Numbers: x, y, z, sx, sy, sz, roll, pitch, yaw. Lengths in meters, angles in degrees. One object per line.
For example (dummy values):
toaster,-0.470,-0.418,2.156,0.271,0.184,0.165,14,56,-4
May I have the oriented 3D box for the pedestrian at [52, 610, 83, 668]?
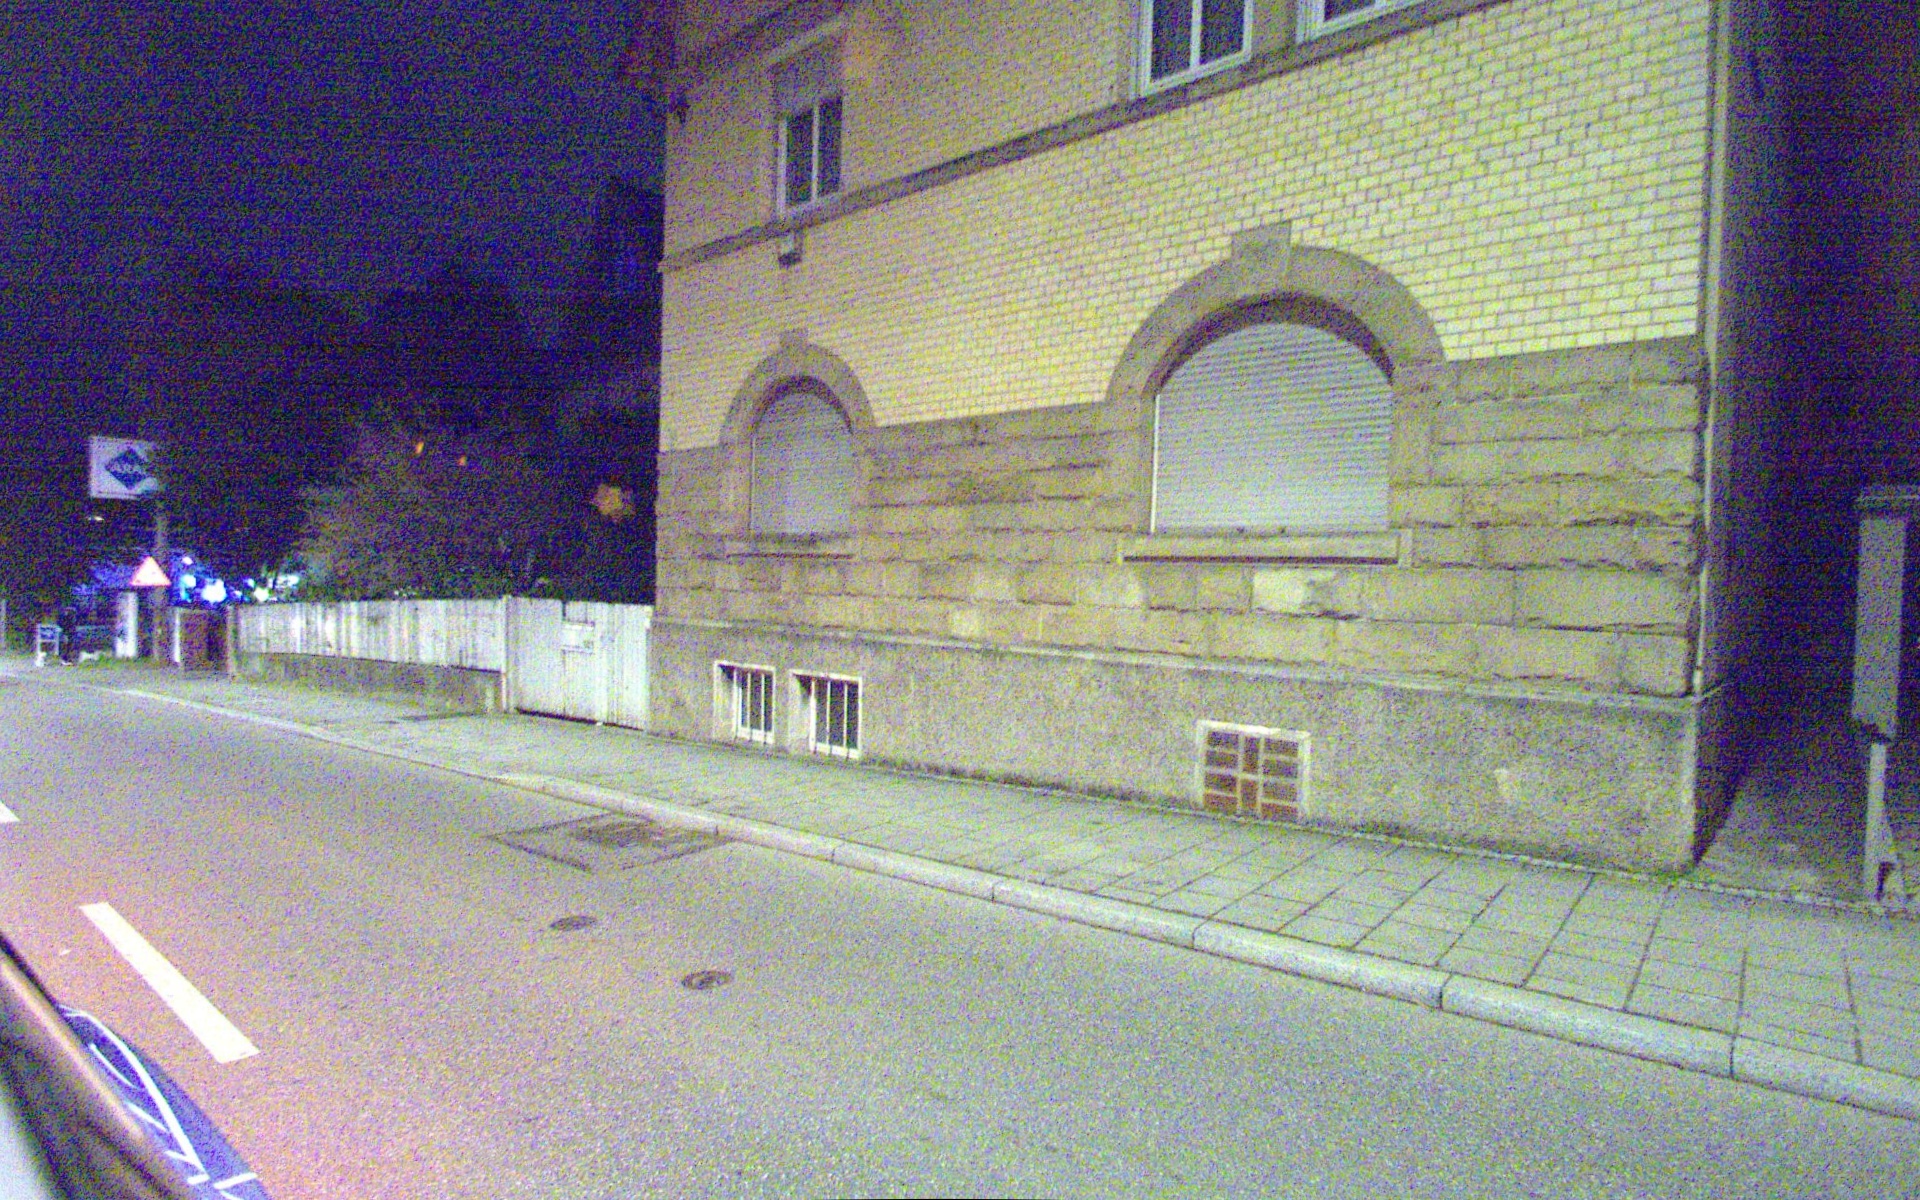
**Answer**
pedestrian,-27.869,1.199,31.592,0.500,1.773,0.664,-1,0,41
